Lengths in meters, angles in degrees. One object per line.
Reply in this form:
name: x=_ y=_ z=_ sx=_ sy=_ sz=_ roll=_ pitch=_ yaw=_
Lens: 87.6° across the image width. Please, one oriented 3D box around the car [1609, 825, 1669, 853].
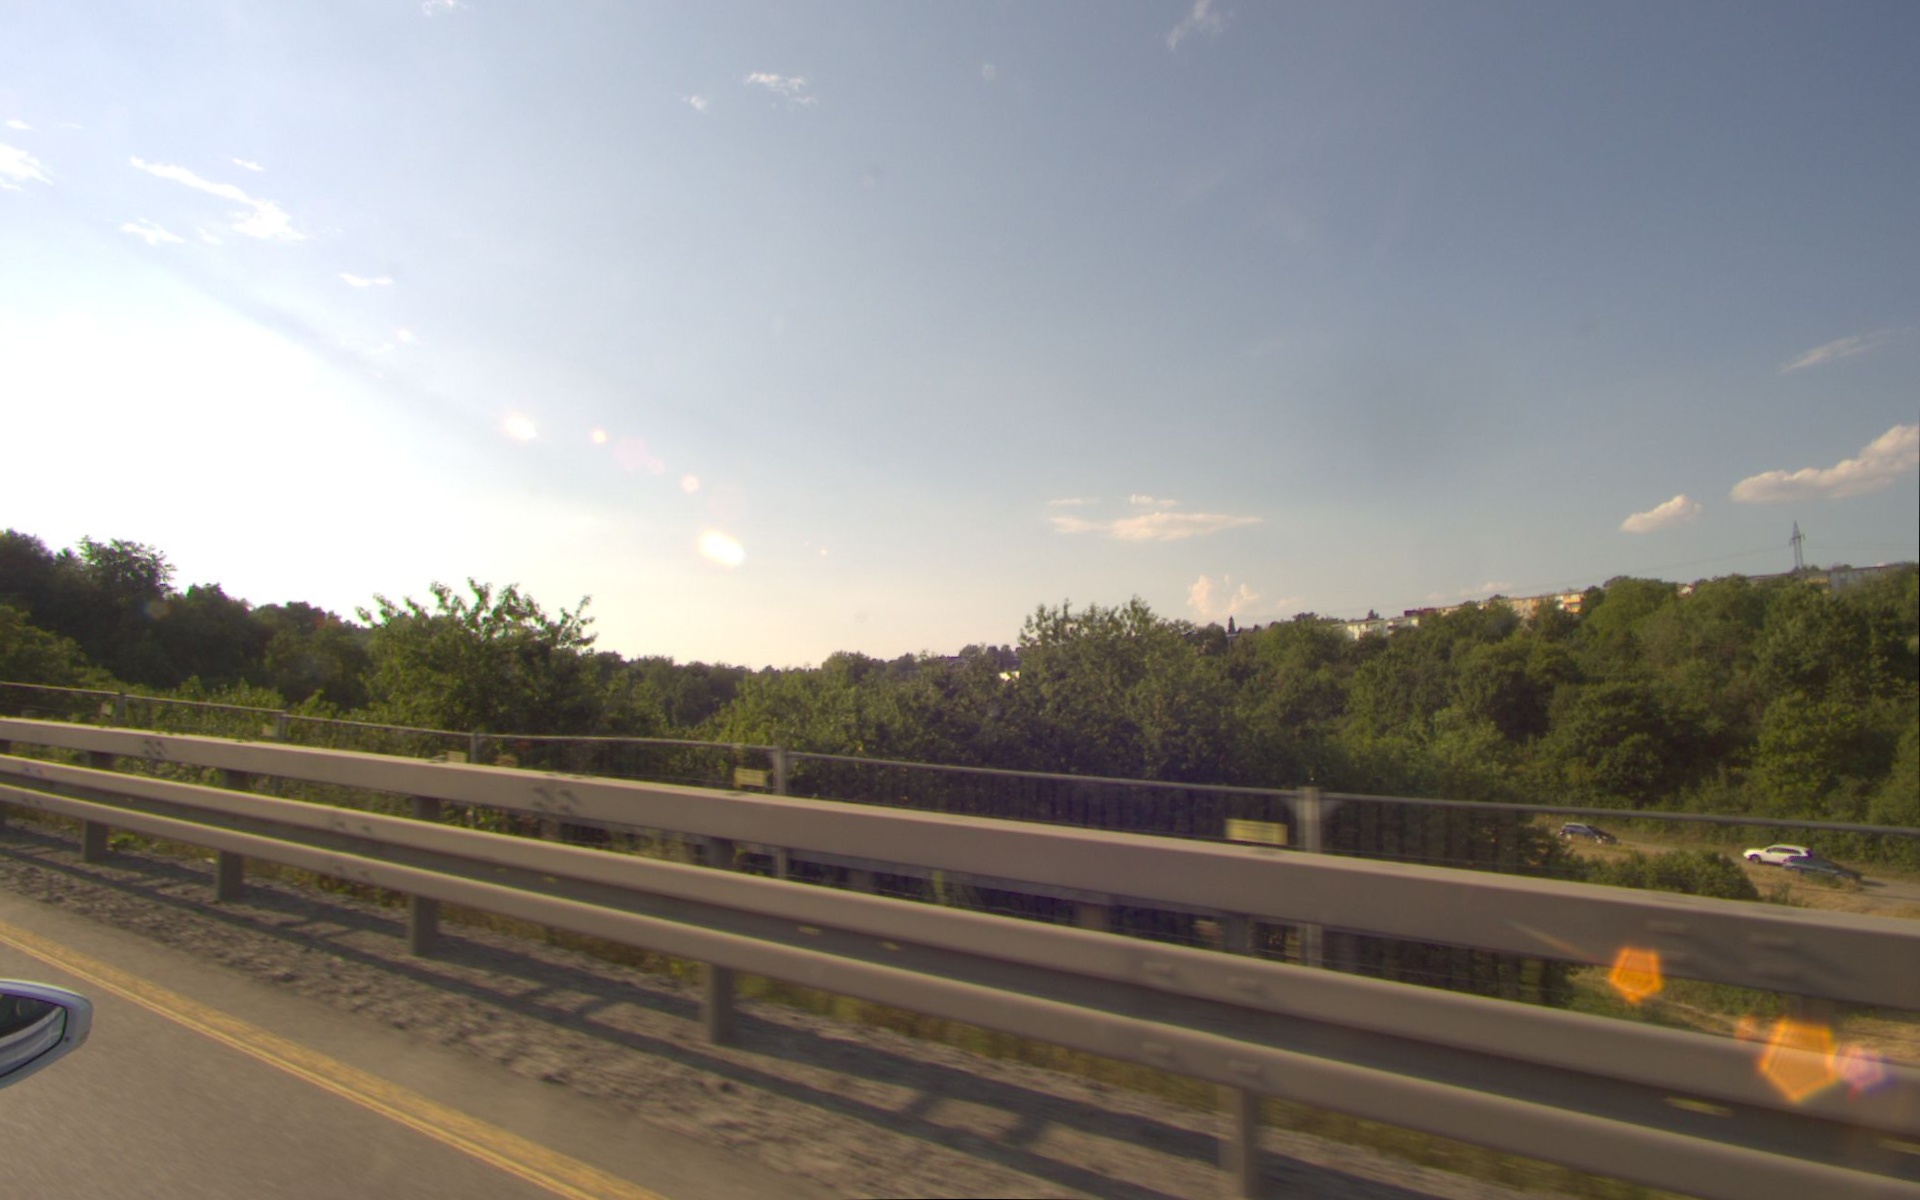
car: x=60.345 y=21.192 z=89.006 sx=1.659 sy=1.573 sz=4.084 roll=0 pitch=-2 yaw=-31
